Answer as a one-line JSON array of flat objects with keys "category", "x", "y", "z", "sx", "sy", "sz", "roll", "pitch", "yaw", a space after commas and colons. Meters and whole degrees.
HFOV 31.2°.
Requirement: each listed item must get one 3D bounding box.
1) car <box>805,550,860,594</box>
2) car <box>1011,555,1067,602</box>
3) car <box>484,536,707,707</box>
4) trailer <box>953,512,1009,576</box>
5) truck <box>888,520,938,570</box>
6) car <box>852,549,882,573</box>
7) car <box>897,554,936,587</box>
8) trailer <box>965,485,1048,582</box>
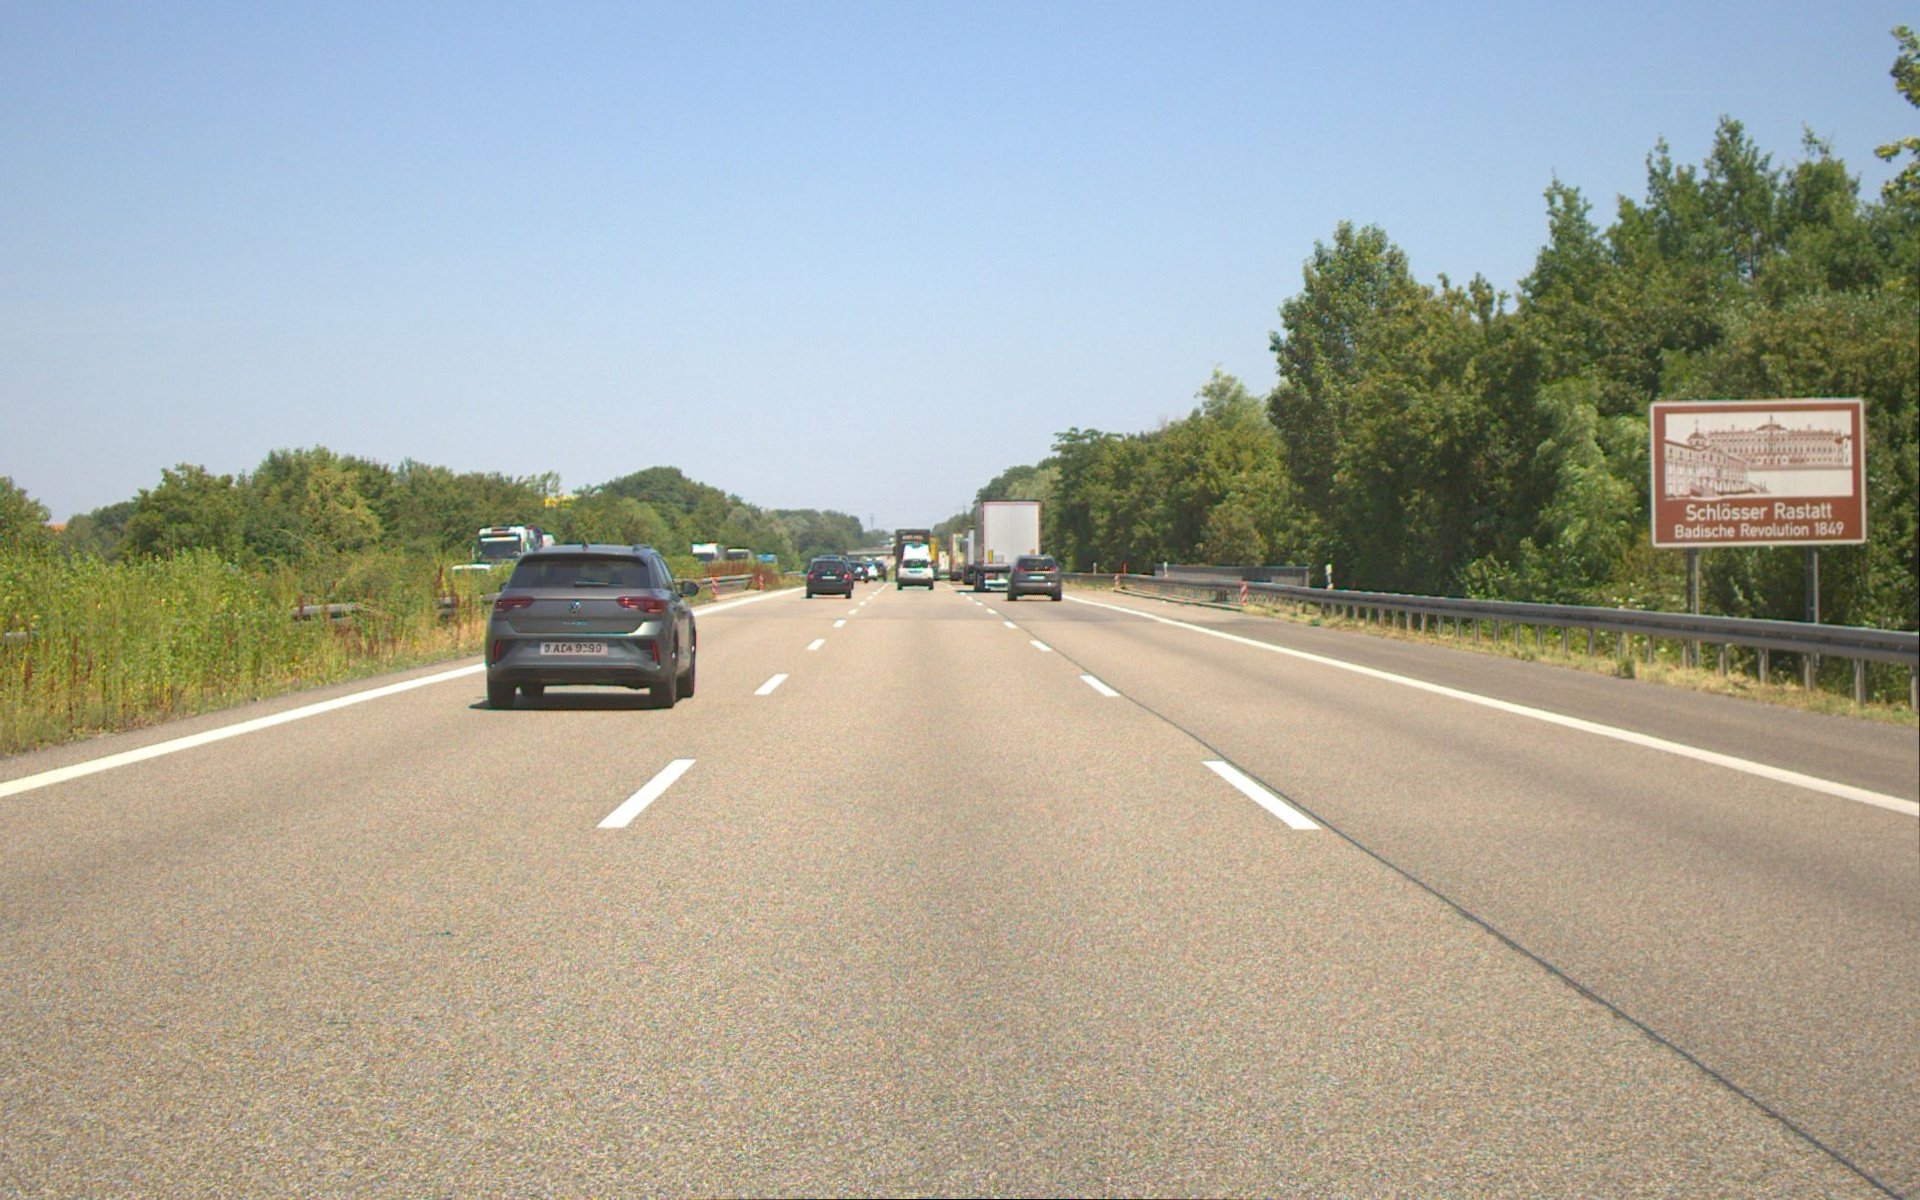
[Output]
[{"category": "car", "x": -4.692, "y": -1.034, "z": 126.586, "sx": 1.900, "sy": 1.525, "sz": 4.084, "roll": 1, "pitch": 1, "yaw": -1}, {"category": "car", "x": 2.796, "y": -0.775, "z": 122.243, "sx": 1.845, "sy": 1.623, "sz": 4.135, "roll": 0, "pitch": 1, "yaw": 0}, {"category": "car", "x": -3.498, "y": 0.162, "z": 33.688, "sx": 1.759, "sy": 1.525, "sz": 4.286, "roll": 1, "pitch": 1, "yaw": -1}, {"category": "trailer", "x": 1.288, "y": -3.570, "z": 216.988, "sx": 3.122, "sy": 3.913, "sz": 9.937, "roll": 1, "pitch": 1, "yaw": -2}, {"category": "truck", "x": -3.559, "y": -4.240, "z": 262.661, "sx": 3.667, "sy": 3.713, "sz": 7.108, "roll": 1, "pitch": 1, "yaw": 0}, {"category": "car", "x": -6.326, "y": -2.669, "z": 234.078, "sx": 1.907, "sy": 1.525, "sz": 4.286, "roll": 1, "pitch": 1, "yaw": -1}, {"category": "car", "x": -2.146, "y": -1.462, "z": 169.031, "sx": 1.900, "sy": 1.525, "sz": 4.084, "roll": 1, "pitch": 1, "yaw": -1}, {"category": "trailer", "x": 2.022, "y": -2.908, "z": 155.662, "sx": 3.434, "sy": 4.167, "sz": 13.633, "roll": 1, "pitch": 0, "yaw": 0}]
